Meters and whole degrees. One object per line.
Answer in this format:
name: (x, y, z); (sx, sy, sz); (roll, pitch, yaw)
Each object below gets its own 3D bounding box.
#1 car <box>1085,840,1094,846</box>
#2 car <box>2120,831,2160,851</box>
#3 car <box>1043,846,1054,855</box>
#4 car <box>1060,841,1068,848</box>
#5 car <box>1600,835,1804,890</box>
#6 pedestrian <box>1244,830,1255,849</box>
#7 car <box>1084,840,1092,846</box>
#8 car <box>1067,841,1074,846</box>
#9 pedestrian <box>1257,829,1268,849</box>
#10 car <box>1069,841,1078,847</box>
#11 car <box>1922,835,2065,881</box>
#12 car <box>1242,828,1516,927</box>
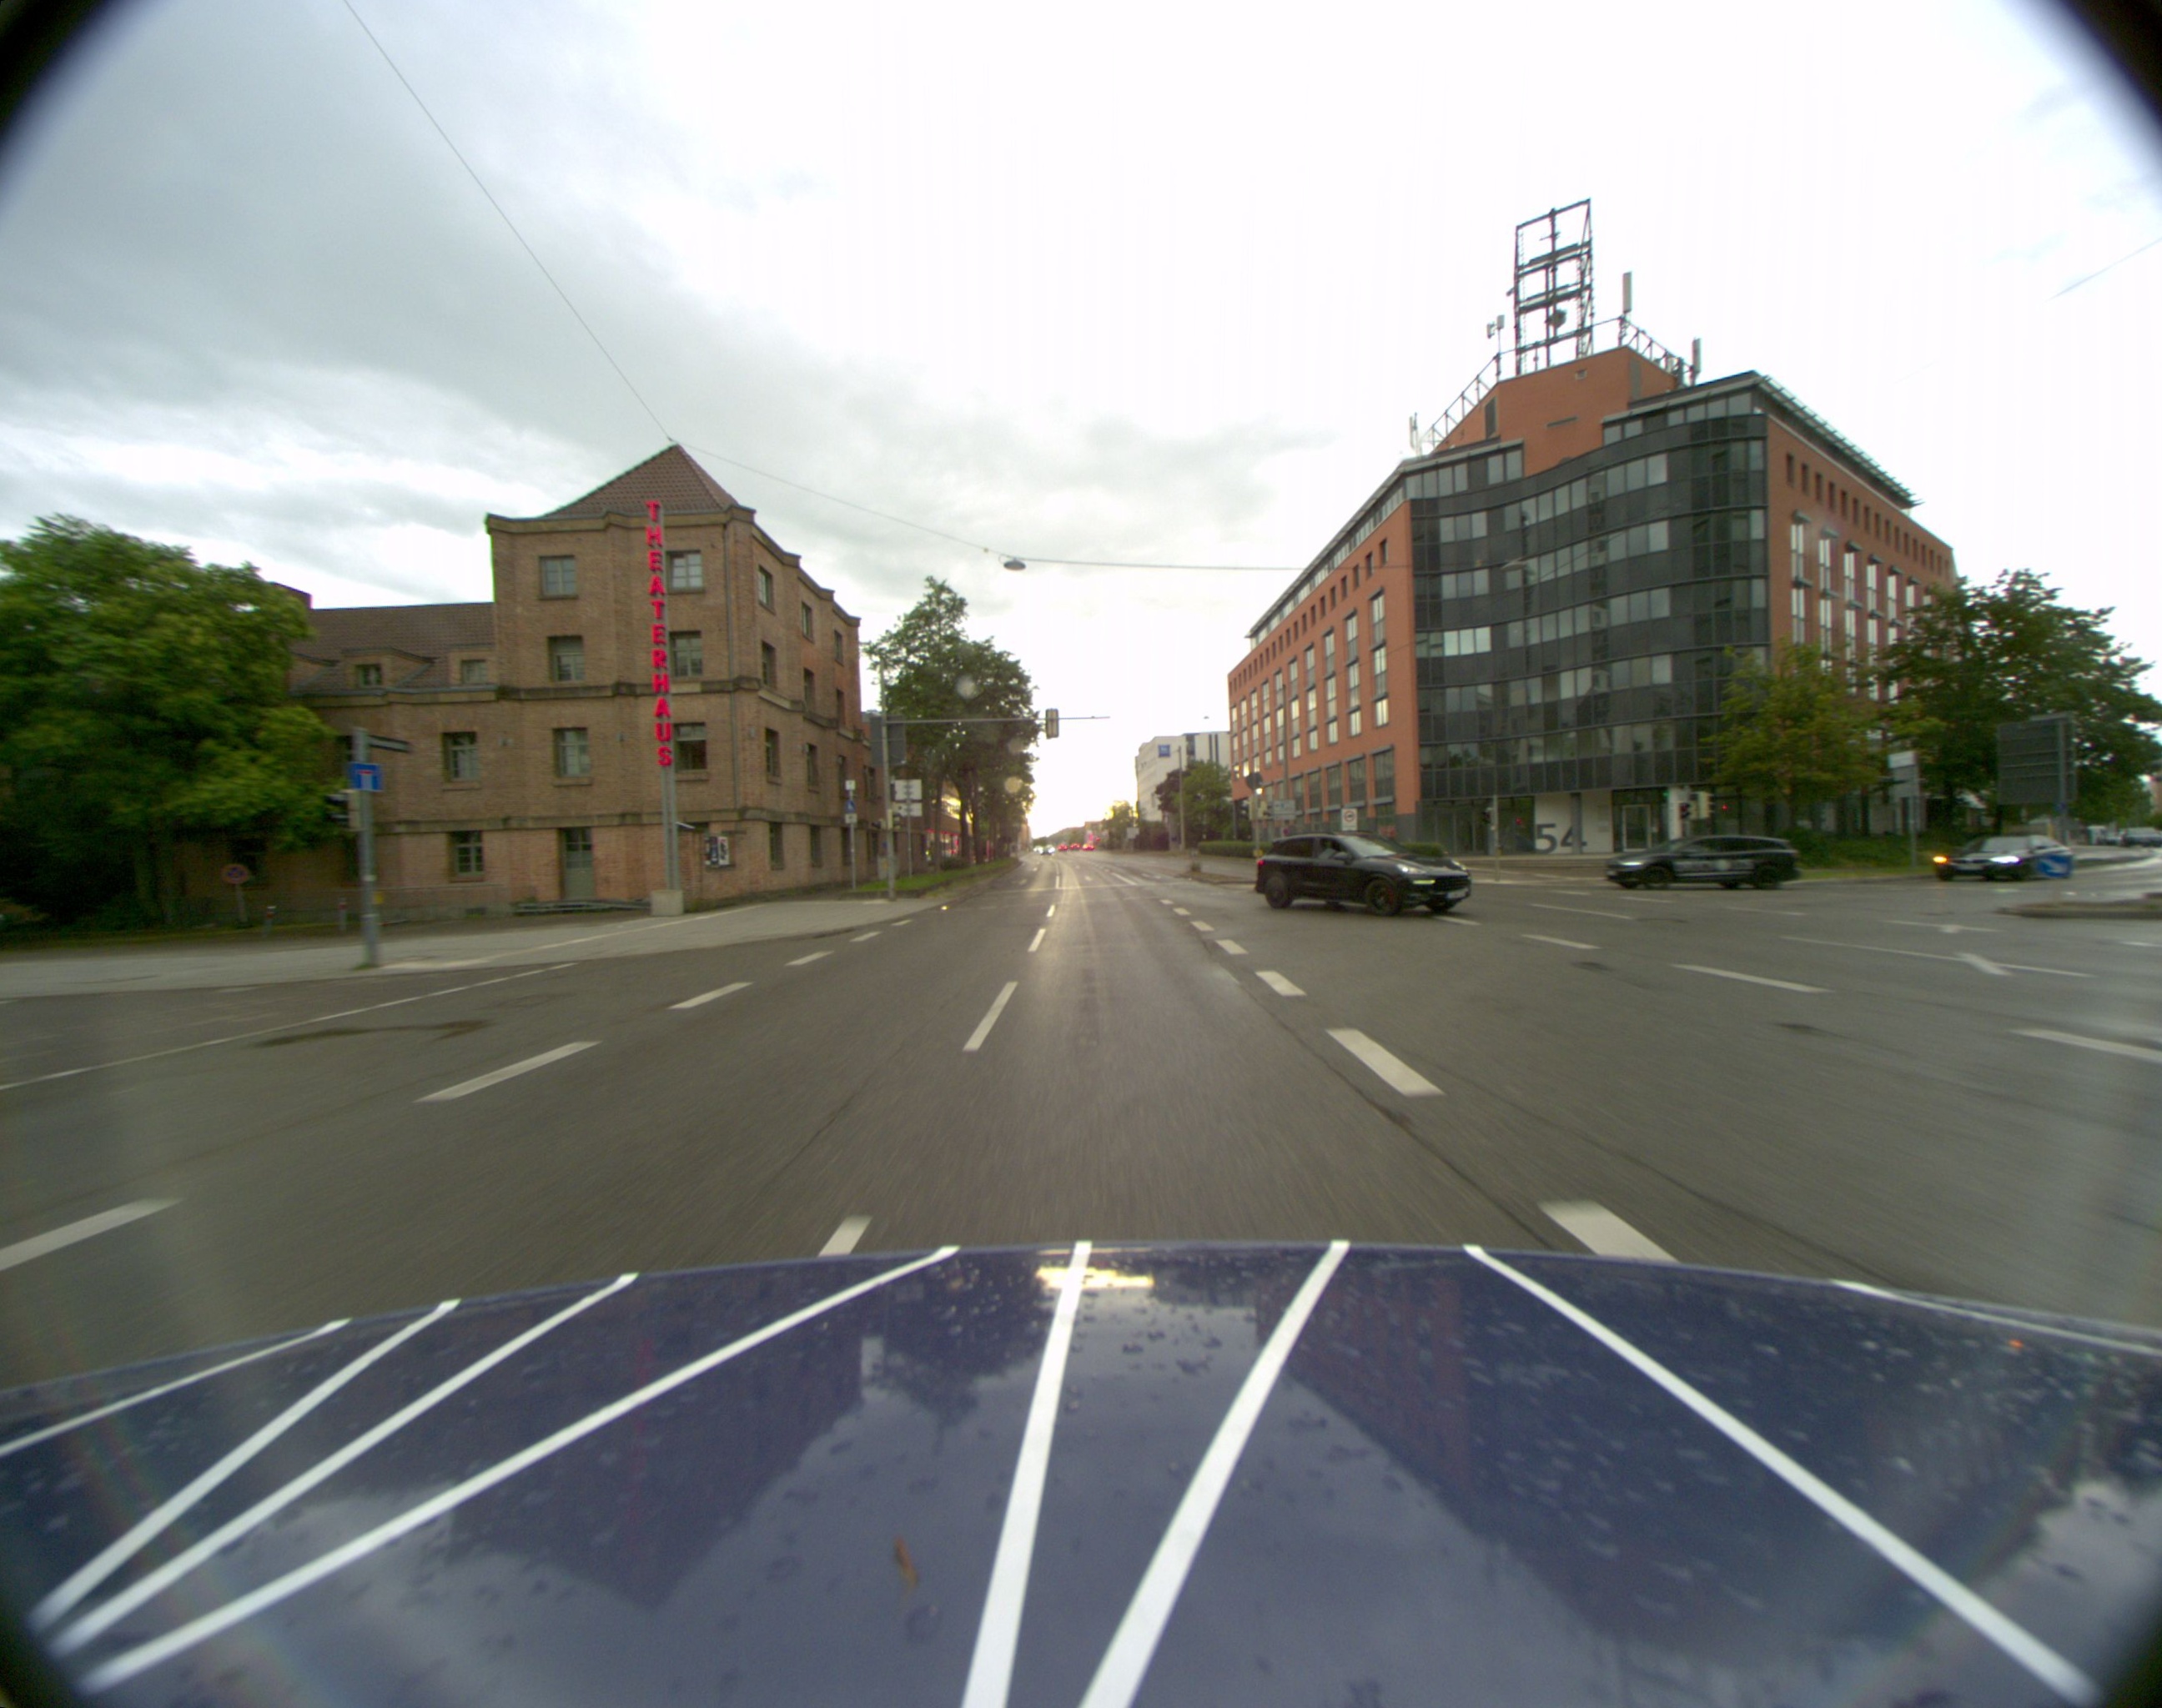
car: (2.078, -2.611, 180.486); (1.767, 1.559, 3.997); (-1, 1, -4)
car: (87.554, -1.074, 62.832); (4.007, 1.501, 1.795); (-2, 1, -37)
car: (-5.406, -0.630, 127.658); (1.799, 1.501, 3.999); (-1, 0, -2)
car: (-4.066, -2.367, 180.851); (1.999, 1.543, 3.998); (-2, 1, -2)
car: (18.322, 0.251, 22.635); (4.366, 1.501, 1.858); (-1, 0, 9)
pedestrian: (16.278, -1.386, 73.533); (0.748, 1.831, 0.885); (-4, 2, -2)
car: (1.914, -2.911, 196.470); (1.767, 1.559, 3.998); (-1, 1, -4)
car: (-3.335, -3.300, 231.862); (1.999, 1.543, 3.998); (-2, 1, -2)
pedestrian: (17.408, -1.429, 73.023); (0.748, 1.831, 0.885); (-4, 2, -2)
car: (-1.822, -2.470, 188.513); (1.999, 1.543, 3.998); (-2, 1, -2)
car: (29.646, 0.088, 24.696); (4.004, 1.355, 1.849); (-1, 1, -22)
car: (5.926, 0.396, 15.999); (2.002, 1.656, 5.413); (-3, 1, -26)
